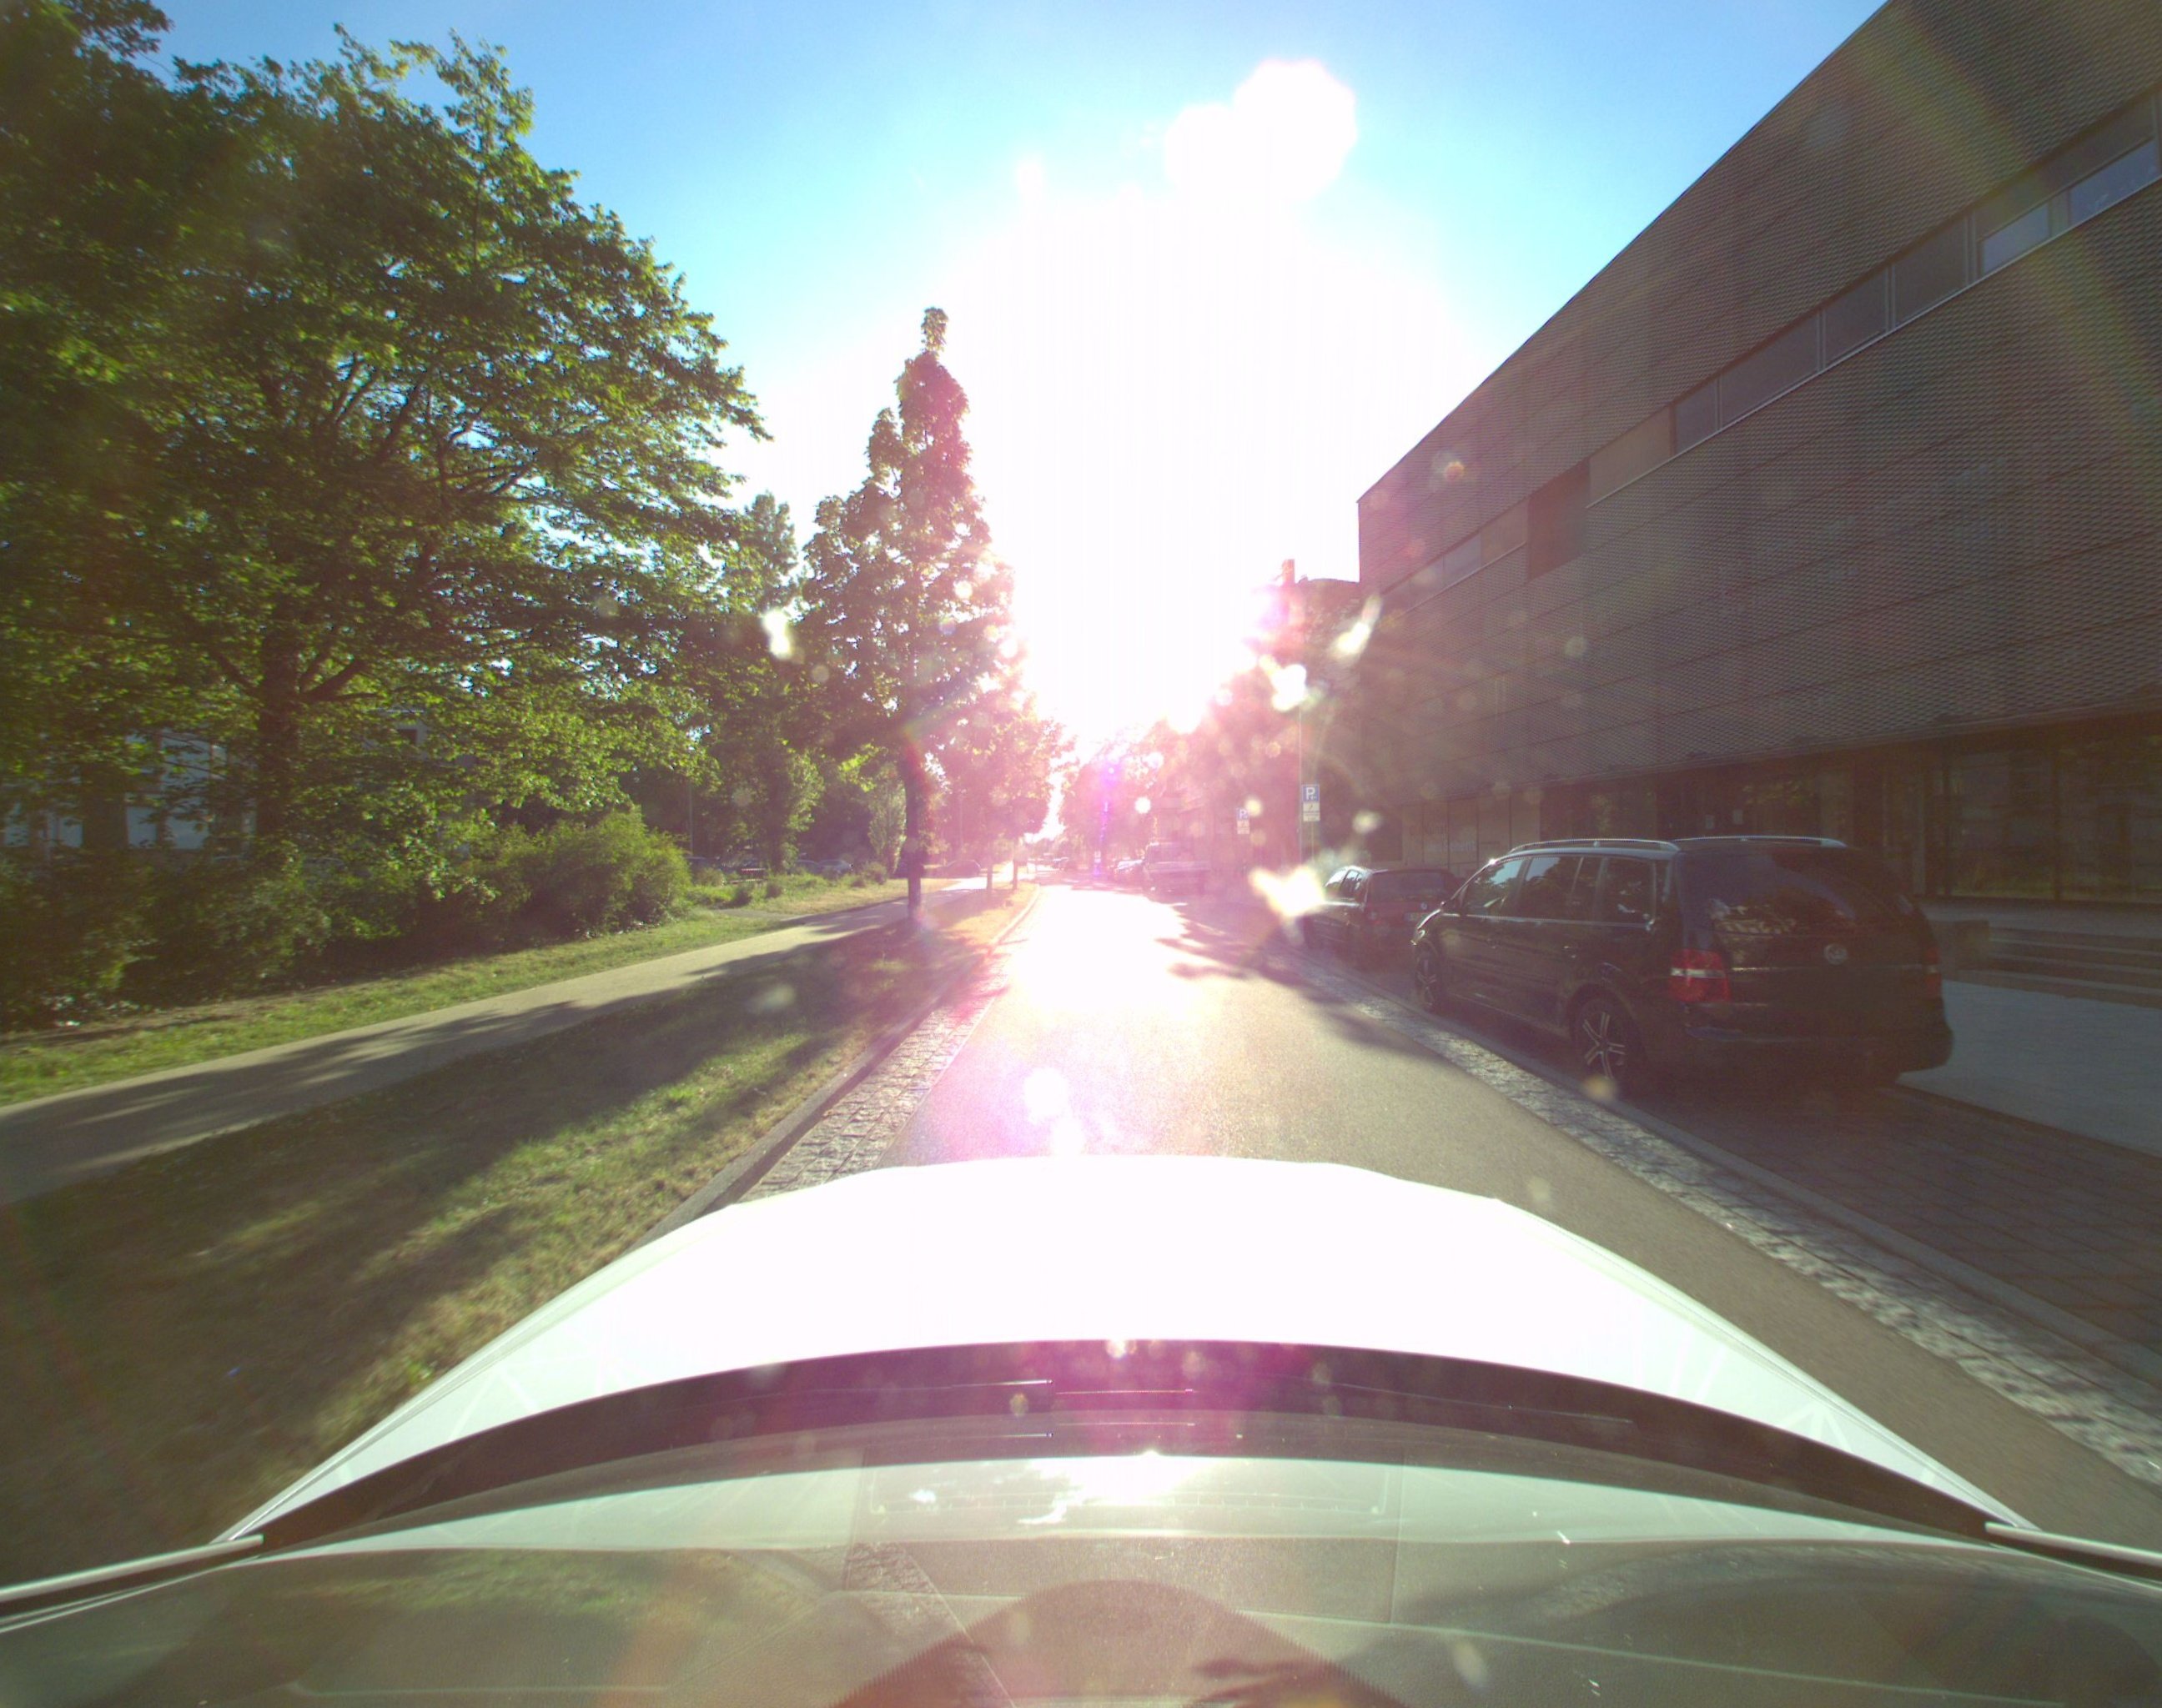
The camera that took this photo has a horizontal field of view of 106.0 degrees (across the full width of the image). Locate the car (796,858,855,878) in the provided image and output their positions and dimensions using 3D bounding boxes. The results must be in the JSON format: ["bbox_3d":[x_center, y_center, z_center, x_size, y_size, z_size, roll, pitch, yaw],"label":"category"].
[{"bbox_3d":[-19.437,1.049,61.906,4.011,1.420,1.755,0,-1,-29],"label":"car"}]

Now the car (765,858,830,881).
[{"bbox_3d":[-19.282,1.037,55.451,4.009,1.420,1.756,-1,0,-27],"label":"car"}]

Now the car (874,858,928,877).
[{"bbox_3d":[-14.285,1.052,64.693,3.933,1.420,1.756,0,-1,-26],"label":"car"}]

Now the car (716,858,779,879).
[{"bbox_3d":[-24.148,1.027,59.009,4.011,1.420,1.755,0,-1,-30],"label":"car"}]

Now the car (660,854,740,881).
[{"bbox_3d":[-24.550,0.879,52.651,4.550,1.686,1.758,0,-1,-24],"label":"car"}]

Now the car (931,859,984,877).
[{"bbox_3d":[-10.100,1.119,66.631,4.012,1.420,1.755,0,-1,-30],"label":"car"}]

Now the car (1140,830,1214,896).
[{"bbox_3d":[4.066,0.378,35.556,2.206,2.530,6.142,-2,0,-2],"label":"car"}]

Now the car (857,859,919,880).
[{"bbox_3d":[-13.778,1.094,58.131,4.011,1.420,1.755,0,-1,-29],"label":"car"}]

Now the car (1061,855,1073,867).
[{"bbox_3d":[-2.152,1.030,124.511,1.789,1.724,3.997,0,0,-2],"label":"car"}]

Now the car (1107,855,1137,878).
[{"bbox_3d":[2.888,0.881,58.129,1.687,1.565,4.098,-1,0,-4],"label":"car"}]

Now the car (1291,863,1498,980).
[{"bbox_3d":[4.495,0.887,12.332,1.718,1.421,3.907,-1,0,2],"label":"car"}]

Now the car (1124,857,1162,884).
[{"bbox_3d":[3.507,0.906,46.772,1.687,1.440,3.545,-1,0,-4],"label":"car"}]

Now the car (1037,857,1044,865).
[{"bbox_3d":[-10.835,1.875,218.214,1.989,1.970,3.996,1,0,-3],"label":"car"}]

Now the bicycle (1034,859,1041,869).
[{"bbox_3d":[-5.322,1.278,100.400,0.686,1.202,2.343,0,0,1],"label":"bicycle"}]

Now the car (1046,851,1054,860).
[{"bbox_3d":[-6.657,0.342,176.820,1.789,1.999,3.997,0,0,-2],"label":"car"}]

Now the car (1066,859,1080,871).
[{"bbox_3d":[-1.115,1.501,110.574,1.788,1.510,4.000,0,0,1],"label":"car"}]

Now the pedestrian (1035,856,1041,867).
[{"bbox_3d":[-5.325,0.918,100.433,0.686,1.434,1.024,0,-1,0],"label":"pedestrian"}]

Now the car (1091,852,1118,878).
[{"bbox_3d":[1.859,0.841,64.945,1.819,2.014,3.599,0,-1,-5],"label":"car"}]

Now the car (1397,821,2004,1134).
[{"bbox_3d":[4.212,0.683,6.540,1.719,1.669,4.113,-2,0,0],"label":"car"}]

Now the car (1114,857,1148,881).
[{"bbox_3d":[3.152,0.919,52.103,1.687,1.440,4.098,-1,0,-4],"label":"car"}]
